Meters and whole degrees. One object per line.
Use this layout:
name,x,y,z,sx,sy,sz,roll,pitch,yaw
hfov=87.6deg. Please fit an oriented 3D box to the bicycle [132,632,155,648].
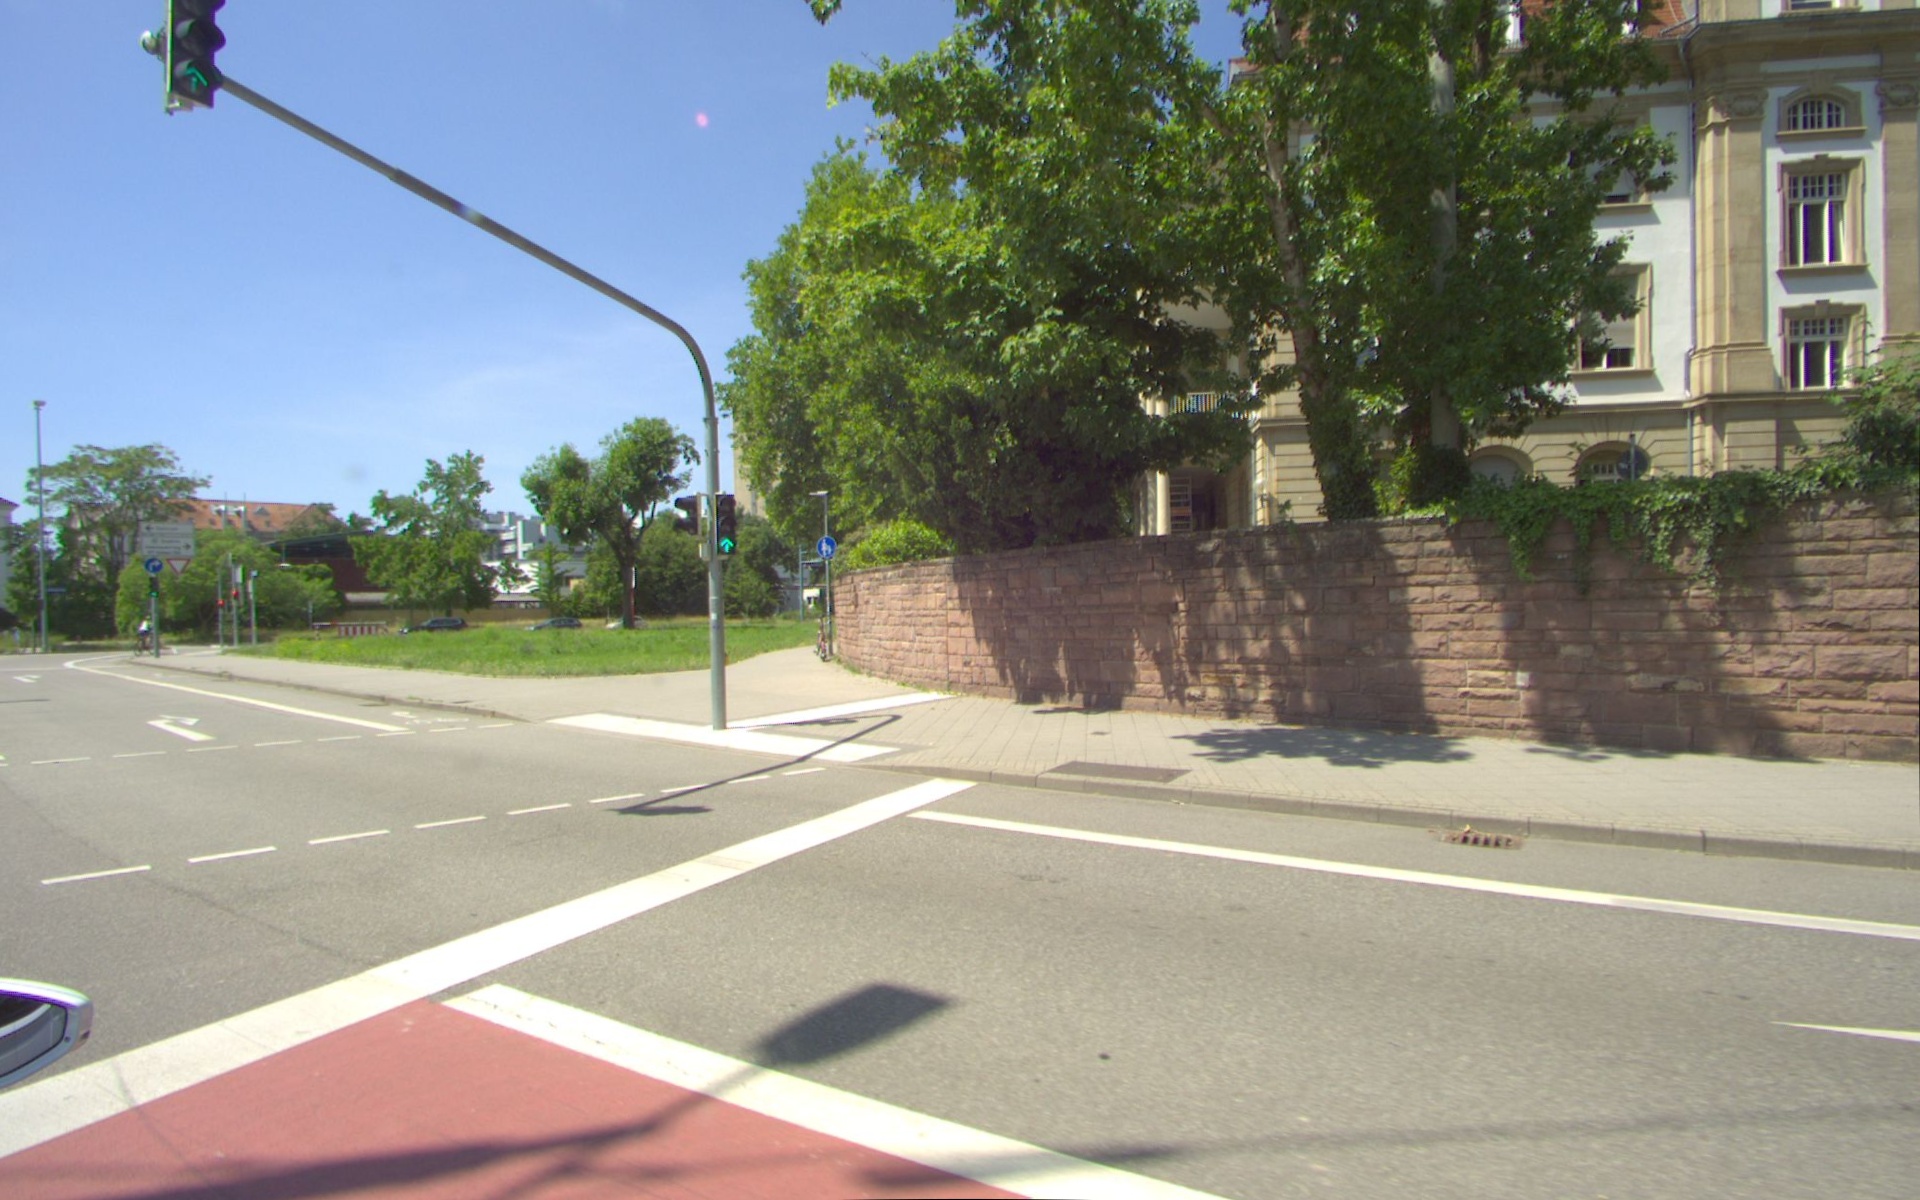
bicycle,-35.503,1.731,43.564,0.372,0.654,1.638,-1,0,-25

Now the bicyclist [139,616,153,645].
bicyclist,-35.543,1.335,43.724,0.347,1.244,0.562,-1,1,-25

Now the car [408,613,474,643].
car,-37.408,2.025,72.220,1.455,2.040,3.963,-2,-1,44

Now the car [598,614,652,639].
car,-27.597,2.151,82.650,1.455,1.895,3.963,-2,-1,44

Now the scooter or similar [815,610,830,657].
scooter or similar,-3.615,0.874,26.424,0.269,1.178,1.466,-2,-1,-4
